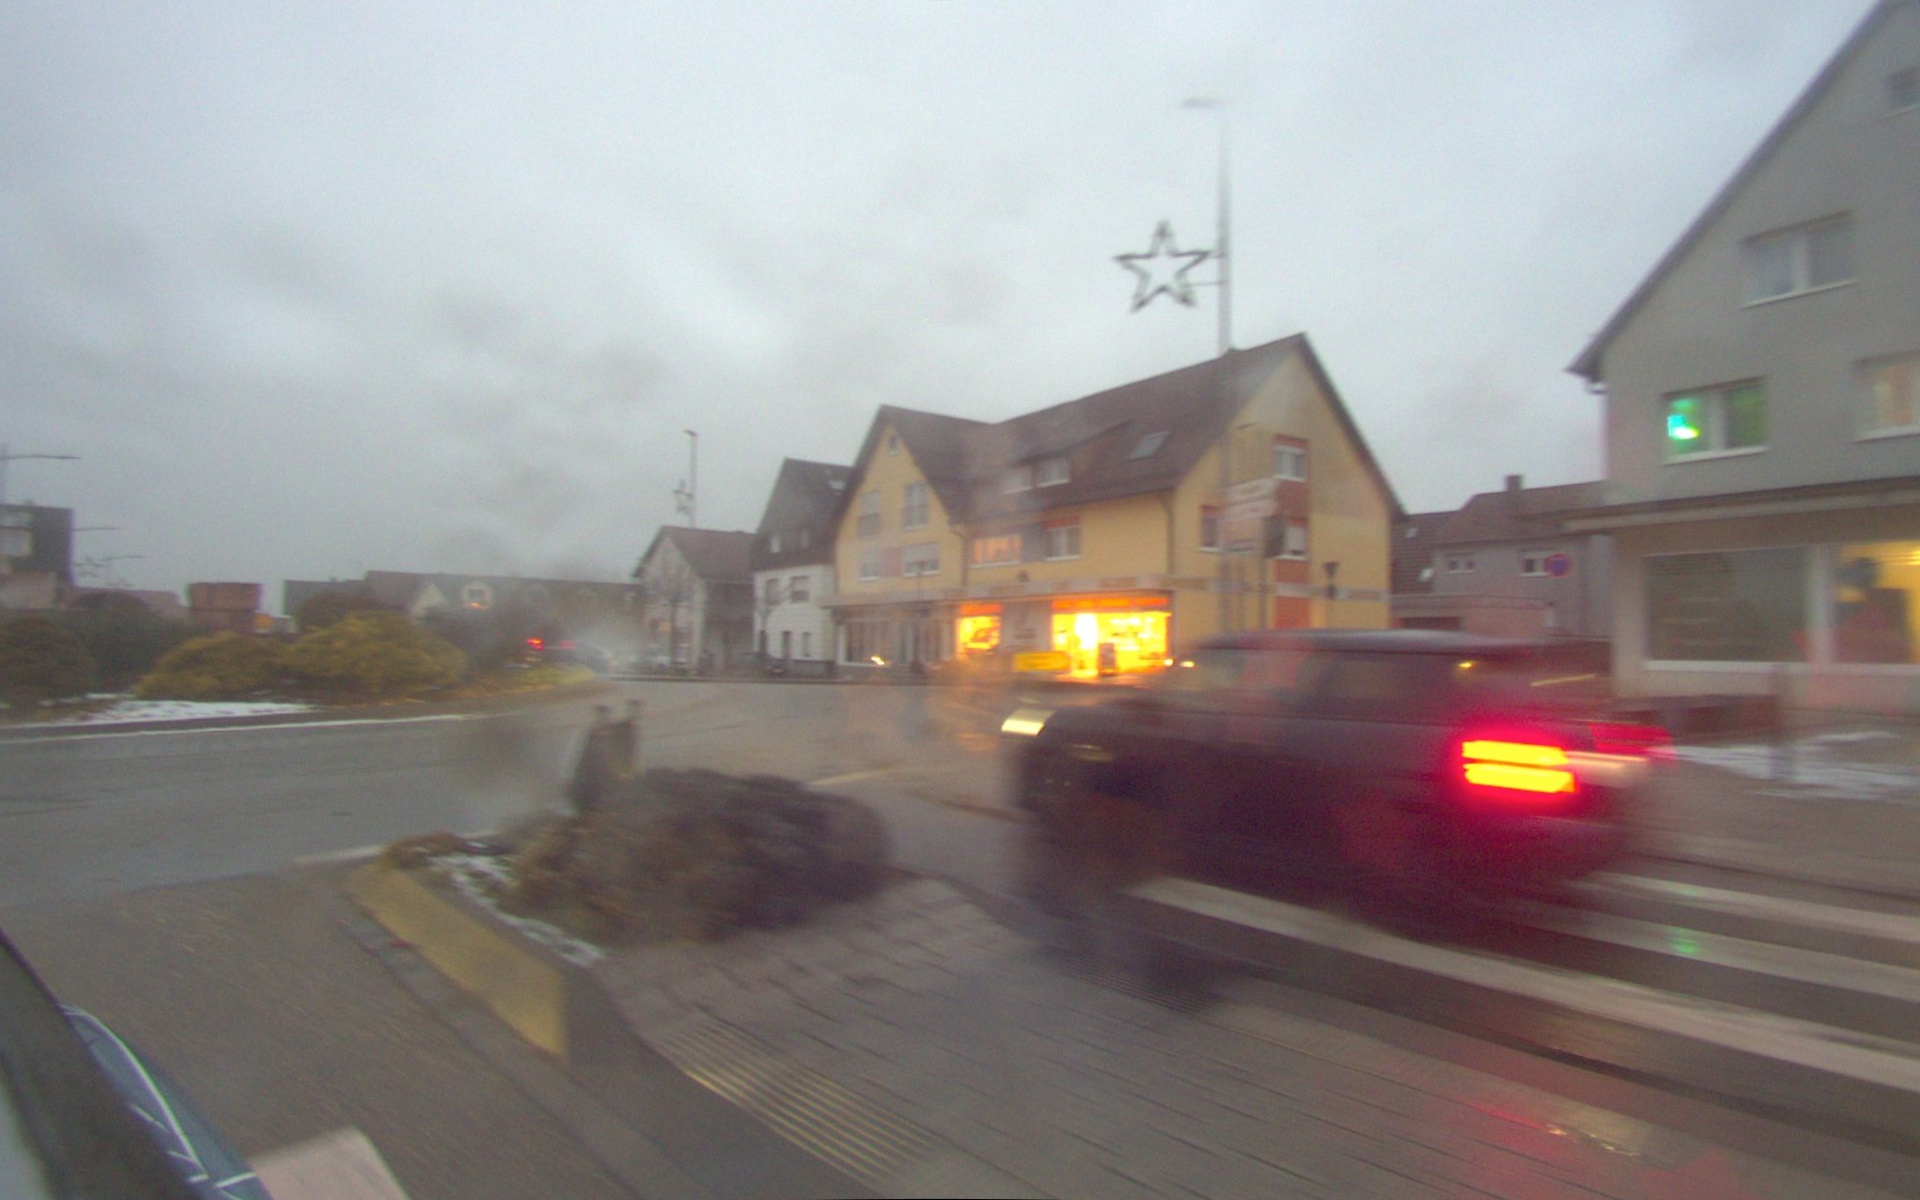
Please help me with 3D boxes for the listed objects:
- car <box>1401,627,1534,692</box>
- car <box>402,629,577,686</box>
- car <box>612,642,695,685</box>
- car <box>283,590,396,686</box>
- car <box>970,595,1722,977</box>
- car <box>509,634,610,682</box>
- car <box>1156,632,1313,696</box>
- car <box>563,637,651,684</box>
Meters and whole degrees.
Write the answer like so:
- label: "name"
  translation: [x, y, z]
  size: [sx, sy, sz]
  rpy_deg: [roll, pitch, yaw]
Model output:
- label: "car"
  translation: [17.593, 2.007, 35.038]
  size: [4.388, 2.029, 2.006]
  rpy_deg: [0, 0, -29]
- label: "car"
  translation: [-14.136, 1.699, 30.509]
  size: [4.484, 1.612, 1.865]
  rpy_deg: [0, -1, 8]
- label: "car"
  translation: [-15.330, 3.129, 50.597]
  size: [3.857, 1.895, 1.916]
  rpy_deg: [0, 0, 31]
- label: "car"
  translation: [-14.318, 0.796, 23.579]
  size: [2.024, 2.002, 4.552]
  rpy_deg: [0, 0, -29]
- label: "car"
  translation: [1.941, 0.797, 6.088]
  size: [1.680, 1.515, 3.906]
  rpy_deg: [1, -2, -38]
- label: "car"
  translation: [-18.265, 2.620, 46.199]
  size: [3.966, 2.010, 1.960]
  rpy_deg: [0, 0, 18]
- label: "car"
  translation: [7.986, 1.798, 29.341]
  size: [4.298, 1.617, 1.895]
  rpy_deg: [0, 0, -29]
- label: "car"
  translation: [-16.916, 2.848, 48.476]
  size: [3.957, 2.029, 1.906]
  rpy_deg: [0, 0, 31]
